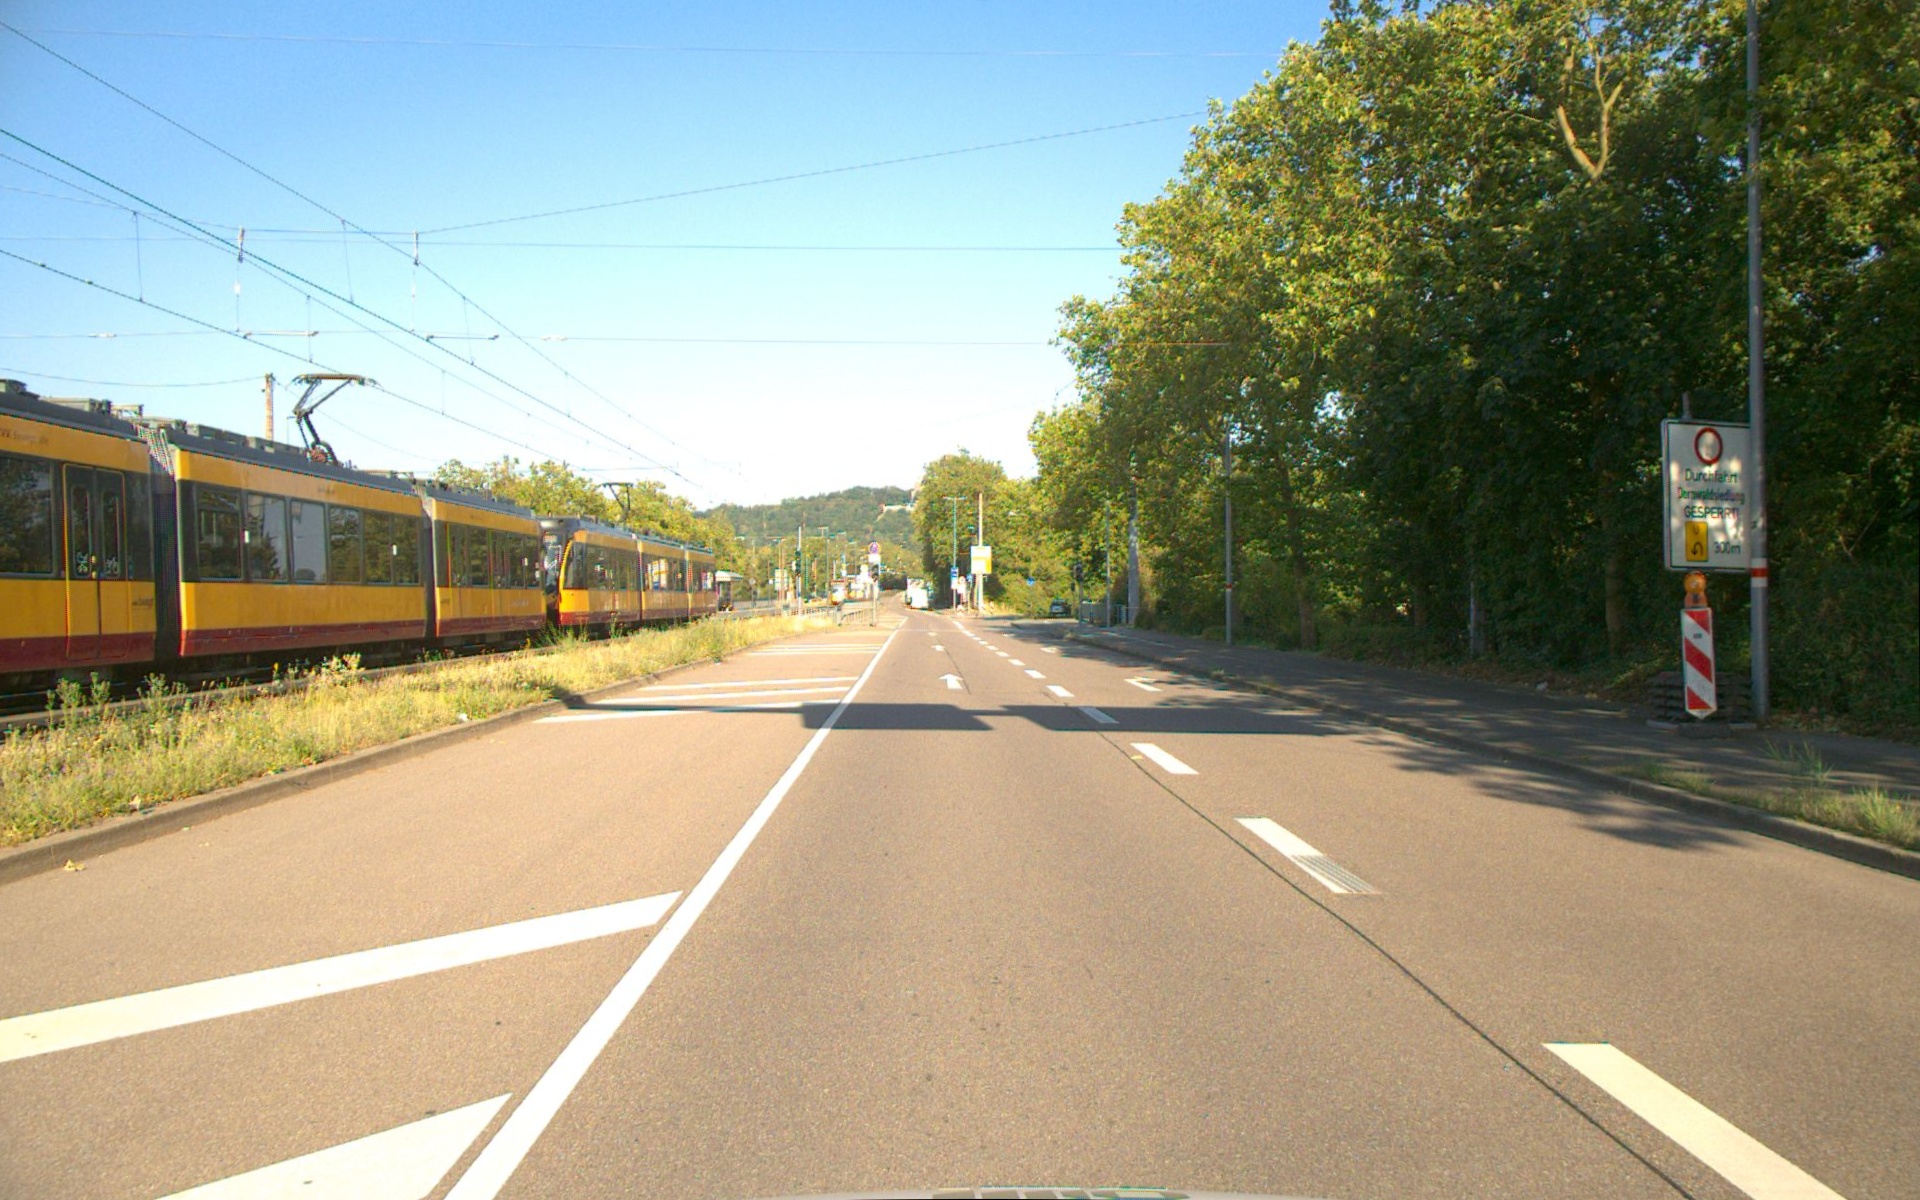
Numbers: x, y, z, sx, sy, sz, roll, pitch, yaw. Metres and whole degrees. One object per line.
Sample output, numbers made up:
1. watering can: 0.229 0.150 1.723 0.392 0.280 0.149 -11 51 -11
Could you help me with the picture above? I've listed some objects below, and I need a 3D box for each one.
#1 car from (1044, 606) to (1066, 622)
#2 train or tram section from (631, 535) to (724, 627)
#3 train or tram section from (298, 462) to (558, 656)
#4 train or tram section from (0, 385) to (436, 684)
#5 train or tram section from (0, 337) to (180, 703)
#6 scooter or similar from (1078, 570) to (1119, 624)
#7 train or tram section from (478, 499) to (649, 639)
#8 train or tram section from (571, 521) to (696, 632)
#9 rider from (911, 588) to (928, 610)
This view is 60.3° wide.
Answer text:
1. car: 9.298 1.363 162.287 2.042 1.593 3.957 1 0 5
2. train or tram section: -13.292 -0.818 78.800 2.767 4.020 10.831 1 0 -1
3. train or tram section: -12.455 -0.834 40.157 2.747 3.971 11.808 1 0 -2
4. train or tram section: -12.103 -0.865 28.249 2.747 3.971 11.986 1 0 -2
5. train or tram section: -11.746 -0.897 16.063 2.747 3.971 12.327 1 0 -2
6. scooter or similar: 7.316 -0.158 87.697 1.647 2.763 4.868 1 0 -1
7. train or tram section: -12.706 -0.884 54.384 2.767 4.020 12.703 1 0 -1
8. train or tram section: -13.013 -0.850 67.074 2.767 4.020 12.649 1 0 -1
9. rider: -4.955 -0.122 201.730 2.064 2.693 0.737 0 0 4
